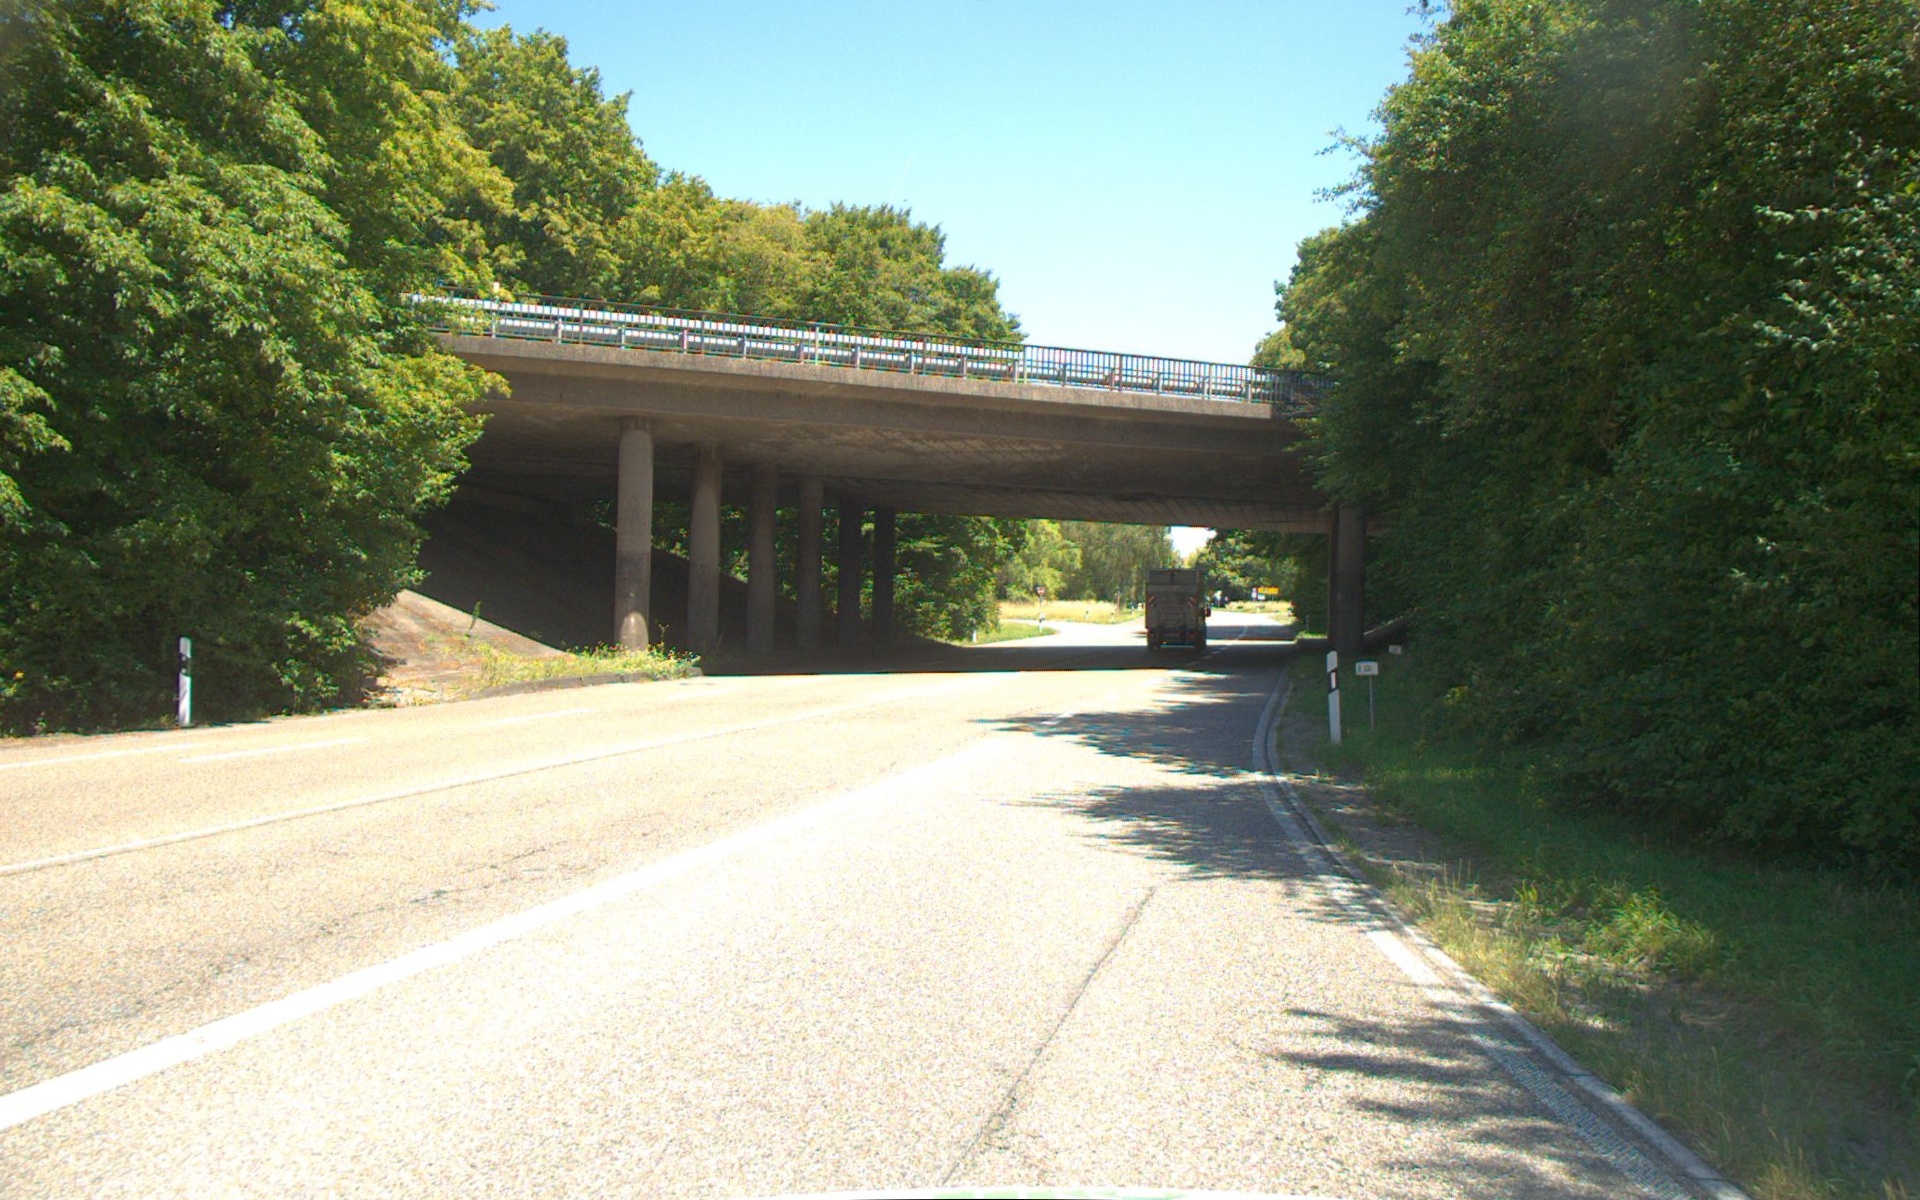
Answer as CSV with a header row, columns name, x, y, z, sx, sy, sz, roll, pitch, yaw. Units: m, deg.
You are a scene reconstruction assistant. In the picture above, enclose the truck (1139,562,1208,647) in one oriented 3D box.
name,x,y,z,sx,sy,sz,roll,pitch,yaw
truck,8.177,0.188,62.803,2.192,3.037,5.899,0,-1,11
